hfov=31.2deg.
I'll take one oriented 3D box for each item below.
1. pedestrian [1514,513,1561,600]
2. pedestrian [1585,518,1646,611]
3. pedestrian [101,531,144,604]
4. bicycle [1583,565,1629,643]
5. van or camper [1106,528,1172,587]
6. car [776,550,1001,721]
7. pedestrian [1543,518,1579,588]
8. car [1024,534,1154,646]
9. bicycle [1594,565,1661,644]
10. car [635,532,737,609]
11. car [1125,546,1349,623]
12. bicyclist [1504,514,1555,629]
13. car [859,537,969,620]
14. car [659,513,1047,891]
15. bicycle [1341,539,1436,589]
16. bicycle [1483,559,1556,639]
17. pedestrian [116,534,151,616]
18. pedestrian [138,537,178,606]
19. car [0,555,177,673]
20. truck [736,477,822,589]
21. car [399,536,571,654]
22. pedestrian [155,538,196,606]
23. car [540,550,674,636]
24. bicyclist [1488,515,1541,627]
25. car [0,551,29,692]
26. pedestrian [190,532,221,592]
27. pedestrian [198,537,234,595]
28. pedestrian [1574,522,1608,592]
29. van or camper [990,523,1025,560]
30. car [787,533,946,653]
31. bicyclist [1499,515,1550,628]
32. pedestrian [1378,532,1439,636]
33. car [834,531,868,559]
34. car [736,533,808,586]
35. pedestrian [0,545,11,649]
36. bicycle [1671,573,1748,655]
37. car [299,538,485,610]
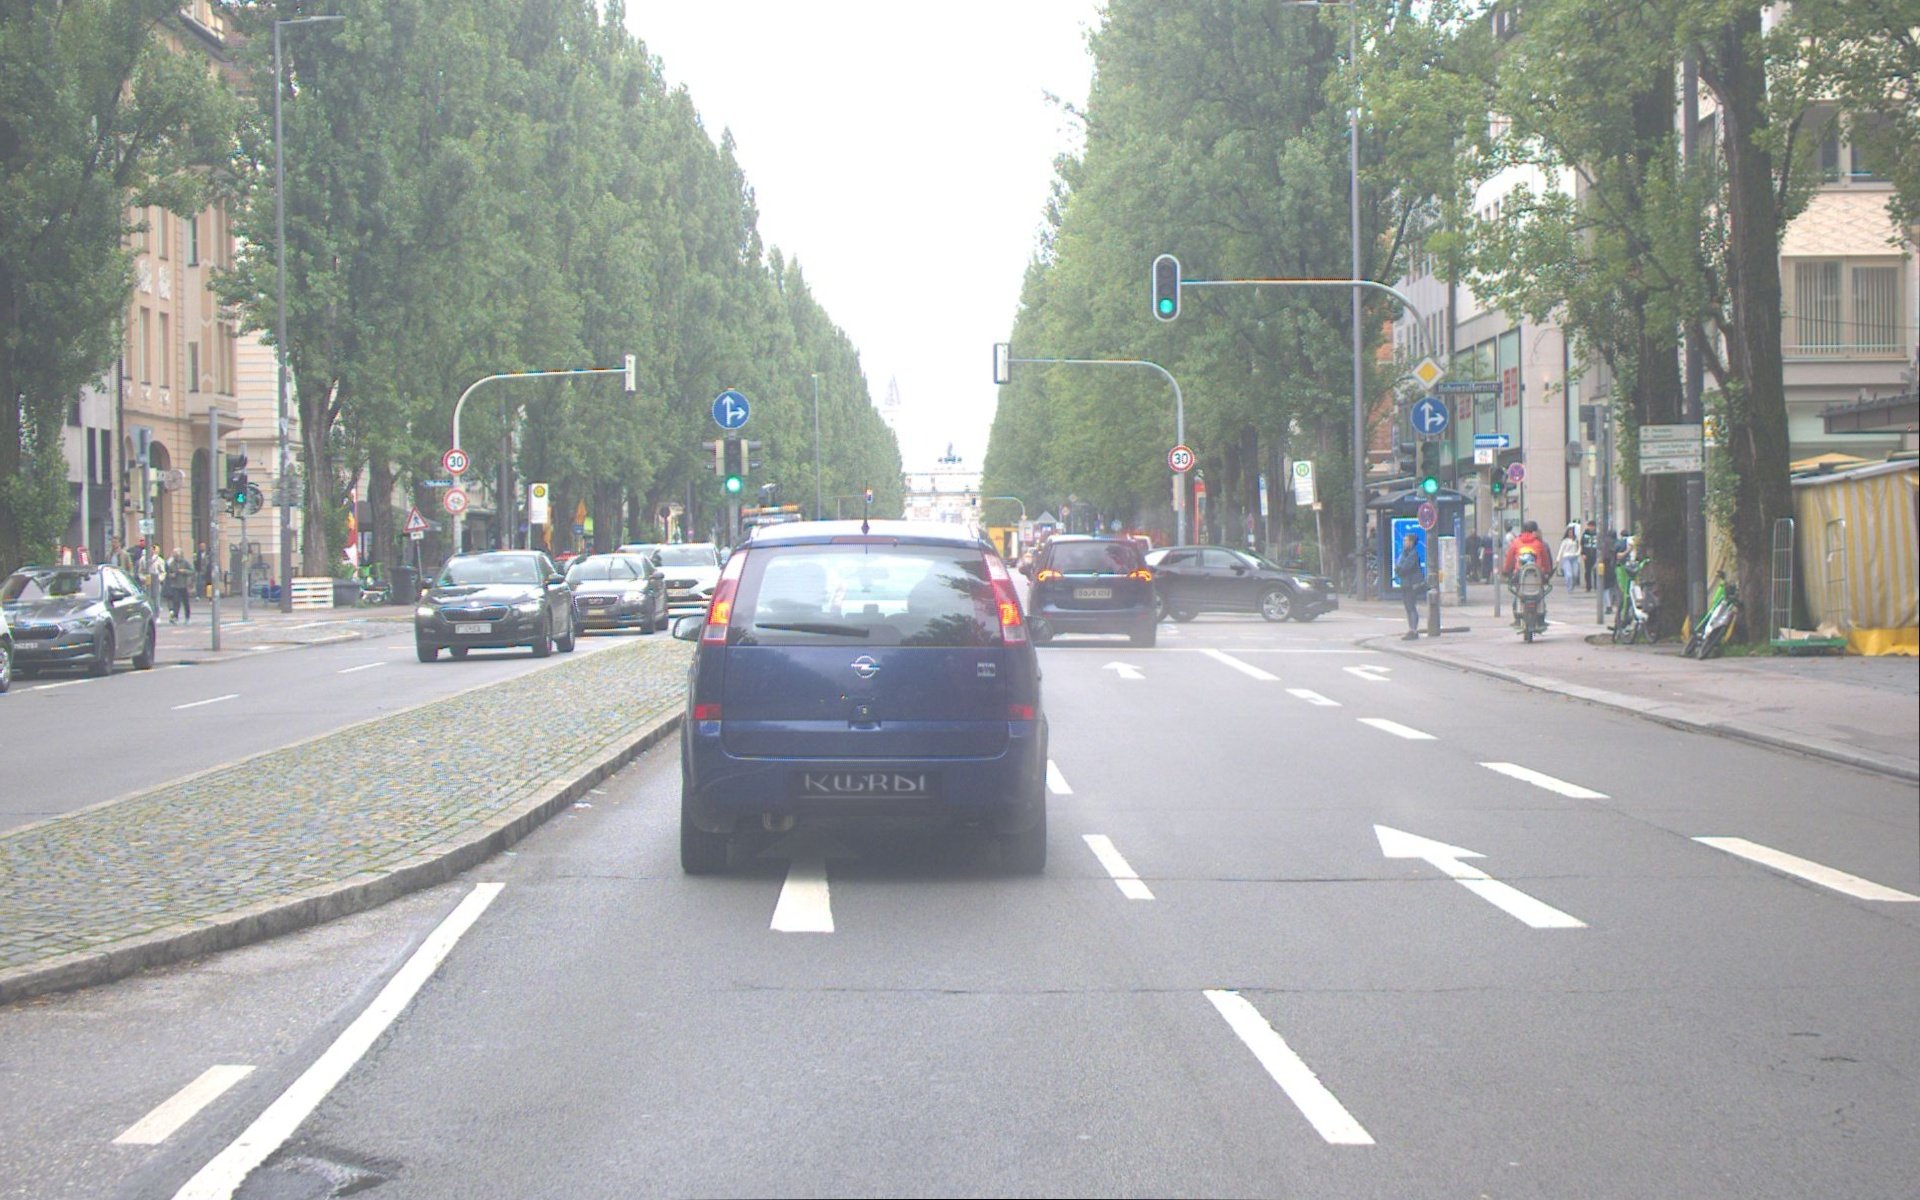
[{"bbox_3d":[12.134,-0.910,72.236,0.818,1.811,0.891,0,1,-1],"label":"pedestrian"},{"bbox_3d":[12.093,-0.646,63.439,0.665,1.697,0.860,0,-1,-43],"label":"pedestrian"},{"bbox_3d":[-20.638,-0.803,84.701,0.800,1.781,0.912,1,1,0],"label":"pedestrian"},{"bbox_3d":[9.312,0.054,49.496,0.405,1.066,1.810,5,2,16],"label":"bicycle"},{"bbox_3d":[5.755,-1.378,111.039,1.868,1.876,4.903,0,1,0],"label":"van or camper"},{"bbox_3d":[-0.669,0.286,32.747,1.993,1.492,4.000,-1,1,-1],"label":"car"},{"bbox_3d":[15.208,-1.198,87.022,0.750,1.752,1.017,-1,1,1],"label":"pedestrian"},{"bbox_3d":[1.867,-0.180,50.856,1.706,1.568,4.000,-1,1,-1],"label":"car"},{"bbox_3d":[9.166,0.058,47.259,0.508,1.044,1.770,-1,1,-2],"label":"bicycle"},{"bbox_3d":[-6.140,-0.683,77.430,1.843,1.630,4.575,-2,1,1],"label":"car"},{"bbox_3d":[5.389,-0.303,67.029,3.994,1.456,1.756,0,1,33],"label":"car"},{"bbox_3d":[7.961,-0.401,48.055,0.621,1.583,0.391,-1,1,-1],"label":"bicyclist"},{"bbox_3d":[-0.871,-0.422,64.973,1.993,1.492,4.000,-1,1,-1],"label":"car"},{"bbox_3d":[-0.500,0.405,16.938,1.681,1.635,4.000,0,1,-1],"label":"car"},{"bbox_3d":[10.901,-0.928,87.459,2.343,1.248,0.633,0,1,0],"label":"bicycle"},{"bbox_3d":[7.956,-0.027,48.992,0.626,1.083,2.264,-1,1,-1],"label":"bicycle"},{"bbox_3d":[-17.265,-0.524,71.835,0.586,1.685,0.514,-1,1,0],"label":"pedestrian"},{"bbox_3d":[-19.784,-0.715,84.842,0.732,1.676,0.977,1,1,0],"label":"pedestrian"},{"bbox_3d":[-11.689,0.157,45.214,1.703,1.433,4.590,-2,1,0],"label":"car"},{"bbox_3d":[-6.118,-2.286,117.244,2.463,3.657,8.440,-1,1,0],"label":"truck"},{"bbox_3d":[-6.409,-0.083,46.787,1.756,1.460,4.050,-2,1,0],"label":"car"},{"bbox_3d":[-18.133,-0.650,79.508,0.750,1.562,0.989,-1,1,-3],"label":"pedestrian"},{"bbox_3d":[-6.125,-0.153,59.987,1.836,1.356,4.176,-3,1,0],"label":"car"},{"bbox_3d":[7.945,-0.413,49.267,0.621,1.583,0.753,-1,1,-1],"label":"bicyclist"},{"bbox_3d":[-11.671,0.277,37.849,1.703,1.578,4.096,-2,1,0],"label":"car"},{"bbox_3d":[-22.303,-1.125,101.648,0.699,1.781,0.820,-1,1,1],"label":"pedestrian"},{"bbox_3d":[-20.688,-0.949,95.584,0.778,1.613,0.934,-1,1,0],"label":"pedestrian"},{"bbox_3d":[16.015,-1.092,87.294,0.750,1.752,0.711,0,1,1],"label":"pedestrian"},{"bbox_3d":[3.407,-4.216,247.518,2.477,2.572,5.844,-1,1,0],"label":"van or camper"},{"bbox_3d":[-1.218,-0.129,45.661,1.993,1.492,4.000,-1,1,-1],"label":"car"},{"bbox_3d":[7.960,-0.406,48.507,0.621,1.583,0.481,-1,1,-1],"label":"bicyclist"},{"bbox_3d":[6.969,-0.254,53.430,0.765,1.604,0.864,-1,1,-4],"label":"pedestrian"},{"bbox_3d":[-6.658,-3.383,210.029,1.913,1.675,4.586,-1,1,0],"label":"car"},{"bbox_3d":[-5.512,-1.207,101.237,1.843,1.496,4.986,-1,1,0],"label":"car"},{"bbox_3d":[-16.708,-0.048,58.750,0.724,1.765,0.778,-1,1,1],"label":"pedestrian"},{"bbox_3d":[9.230,0.161,42.376,0.508,0.972,1.770,-1,1,-2],"label":"bicycle"},{"bbox_3d":[-12.218,-0.571,73.893,3.690,1.470,1.773,-1,1,-18],"label":"car"}]
